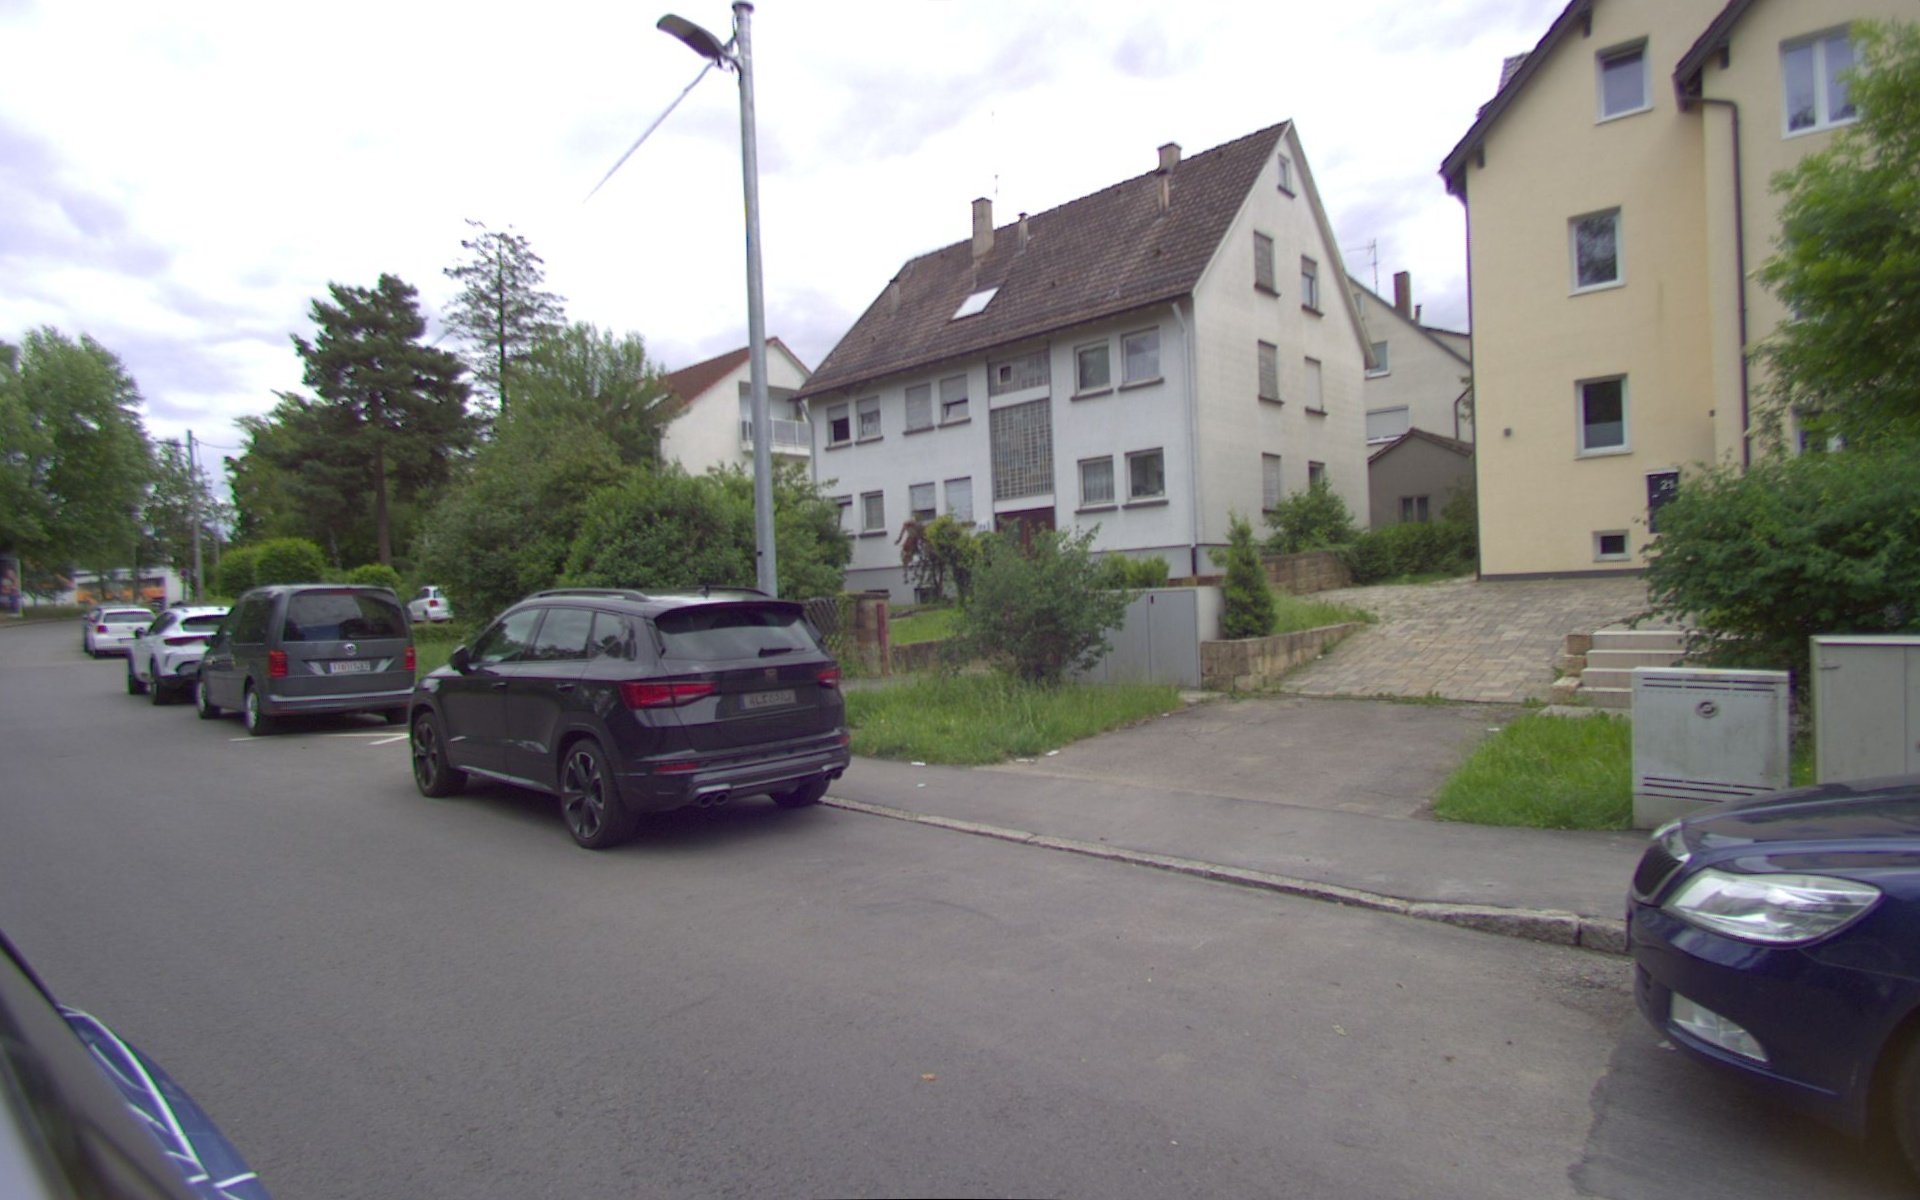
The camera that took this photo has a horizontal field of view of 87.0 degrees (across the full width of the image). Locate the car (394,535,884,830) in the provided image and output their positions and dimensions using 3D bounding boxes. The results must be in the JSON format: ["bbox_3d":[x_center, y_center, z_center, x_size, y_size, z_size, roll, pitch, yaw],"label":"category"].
[{"bbox_3d":[-2.557,0.462,7.463,4.077,1.594,1.644,-1,-1,42],"label":"car"}]

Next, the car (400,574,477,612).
[{"bbox_3d":[-19.235,-0.221,37.249,1.625,1.342,3.909,1,-1,-41],"label":"car"}]

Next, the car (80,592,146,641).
[{"bbox_3d":[-28.156,0.548,33.608,1.582,1.541,3.592,0,-1,-41],"label":"car"}]

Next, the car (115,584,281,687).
[{"bbox_3d":[-12.796,0.538,16.912,4.047,1.517,1.643,-1,-1,45],"label":"car"}]

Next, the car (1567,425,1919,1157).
[{"bbox_3d":[3.968,0.423,1.790,4.809,1.585,1.710,0,-1,38],"label":"car"}]

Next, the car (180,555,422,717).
[{"bbox_3d":[-8.801,0.418,13.375,4.064,1.814,1.776,-1,-1,43],"label":"car"}]

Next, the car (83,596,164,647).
[{"bbox_3d":[-25.203,0.632,30.458,1.711,1.439,3.461,-1,0,-43],"label":"car"}]
